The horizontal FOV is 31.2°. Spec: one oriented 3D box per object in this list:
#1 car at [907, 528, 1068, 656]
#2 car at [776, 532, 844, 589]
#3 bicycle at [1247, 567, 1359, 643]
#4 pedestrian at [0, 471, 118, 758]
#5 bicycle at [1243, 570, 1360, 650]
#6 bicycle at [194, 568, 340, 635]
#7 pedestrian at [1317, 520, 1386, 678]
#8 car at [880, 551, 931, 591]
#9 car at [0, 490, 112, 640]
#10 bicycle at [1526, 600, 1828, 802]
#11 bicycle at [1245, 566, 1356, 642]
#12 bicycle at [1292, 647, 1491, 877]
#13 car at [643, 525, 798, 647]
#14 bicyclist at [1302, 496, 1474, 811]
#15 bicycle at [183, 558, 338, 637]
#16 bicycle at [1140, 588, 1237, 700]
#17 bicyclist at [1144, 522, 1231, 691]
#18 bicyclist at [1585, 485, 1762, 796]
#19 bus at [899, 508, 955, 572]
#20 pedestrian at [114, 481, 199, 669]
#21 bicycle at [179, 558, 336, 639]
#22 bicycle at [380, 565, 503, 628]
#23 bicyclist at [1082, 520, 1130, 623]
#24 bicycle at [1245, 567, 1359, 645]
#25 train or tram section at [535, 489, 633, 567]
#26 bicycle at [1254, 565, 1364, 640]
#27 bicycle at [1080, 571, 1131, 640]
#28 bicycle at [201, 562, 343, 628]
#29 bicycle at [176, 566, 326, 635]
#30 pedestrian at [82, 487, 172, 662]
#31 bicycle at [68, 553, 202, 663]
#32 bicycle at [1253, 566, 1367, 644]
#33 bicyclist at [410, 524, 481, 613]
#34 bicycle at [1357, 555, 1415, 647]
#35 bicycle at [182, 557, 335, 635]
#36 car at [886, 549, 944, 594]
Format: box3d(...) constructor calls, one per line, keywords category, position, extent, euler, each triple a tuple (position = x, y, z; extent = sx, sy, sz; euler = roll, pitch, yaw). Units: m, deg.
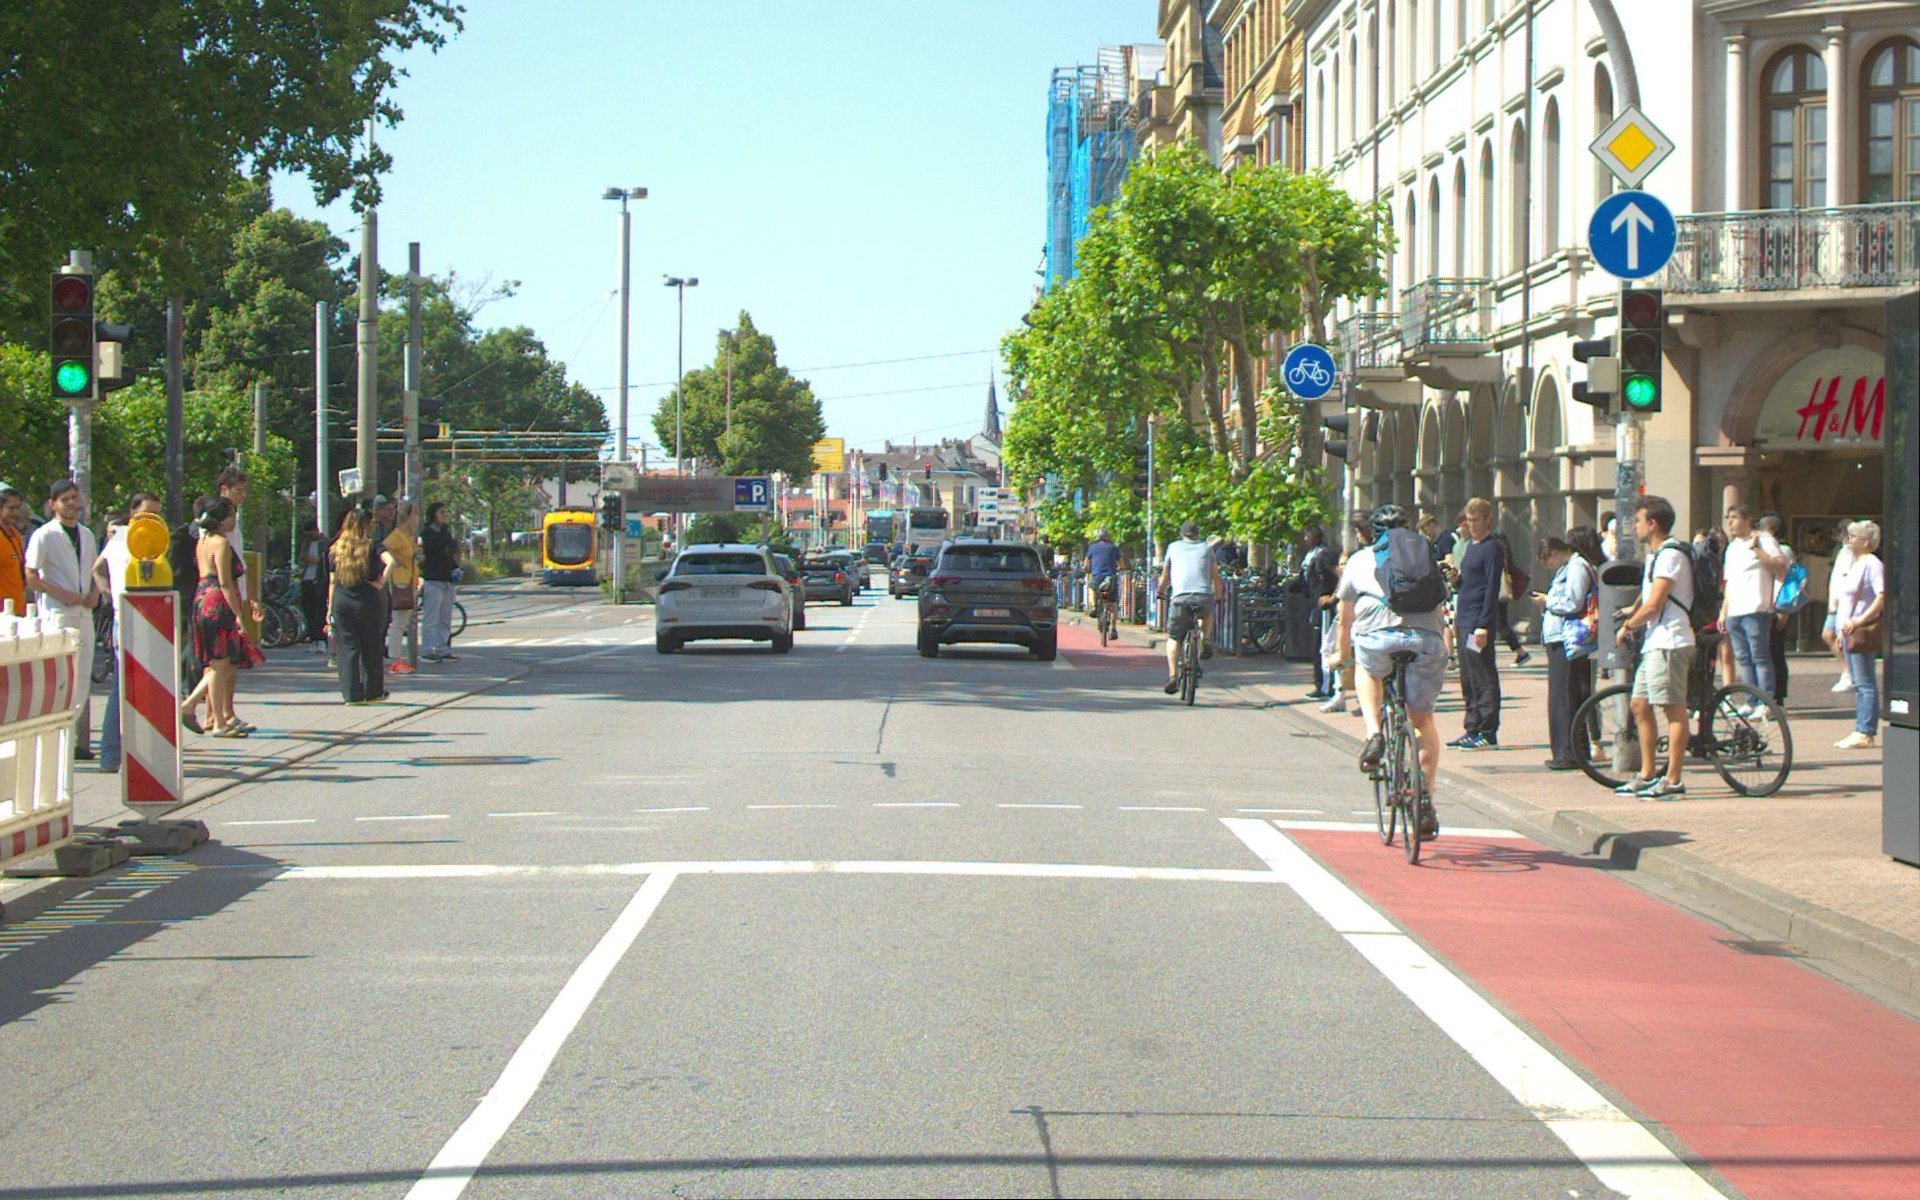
box3d(category="car", position=(0.315, -0.149, 45.433), extent=(1.845, 1.554, 4.001), euler=(-1, 2, -3))
box3d(category="car", position=(-4.247, -1.136, 97.593), extent=(1.845, 1.554, 4.000), euler=(1, 1, -1))
box3d(category="bicycle", position=(4.491, 0.064, 45.026), extent=(1.420, 0.976, 0.445), euler=(-1, 2, 0))
box3d(category="pedestrian", position=(-5.725, 0.086, 21.768), extent=(0.539, 1.773, 0.606), euler=(2, 1, 5))
box3d(category="bicycle", position=(4.300, 0.121, 43.287), extent=(1.420, 0.976, 0.445), euler=(-1, 2, 0))
box3d(category="bicycle", position=(-10.146, 0.014, 50.378), extent=(2.081, 0.976, 0.685), euler=(0, 0, -12))
box3d(category="pedestrian", position=(4.235, -0.013, 37.224), extent=(0.582, 1.668, 0.605), euler=(-3, 1, -2))
box3d(category="car", position=(-2.029, -1.087, 126.749), extent=(1.845, 1.409, 4.000), euler=(1, 1, -1))
box3d(category="car", position=(-13.293, -0.476, 45.073), extent=(1.861, 1.948, 4.756), euler=(1, 1, 20))
box3d(category="bicycle", position=(4.242, 0.573, 20.457), extent=(0.600, 1.078, 1.839), euler=(-3, 3, -35))
box3d(category="bicycle", position=(4.507, 0.045, 45.518), extent=(1.420, 0.976, 0.445), euler=(-1, 2, 0))
box3d(category="bicycle", position=(2.074, 0.756, 16.760), extent=(0.630, 0.976, 2.089), euler=(1, 1, -1))
box3d(category="car", position=(-3.189, -0.228, 46.442), extent=(1.845, 1.554, 4.000), euler=(0, 1, 0))
box3d(category="bicyclist", position=(2.083, 0.244, 16.846), extent=(0.630, 1.476, 1.198), euler=(1, 1, -1))
box3d(category="bicycle", position=(-9.655, -0.041, 47.500), extent=(2.081, 1.086, 0.685), euler=(0, 0, -12))
box3d(category="bicycle", position=(2.220, 0.415, 33.667), extent=(0.774, 1.002, 2.330), euler=(0, 1, 0))
box3d(category="bicyclist", position=(2.219, 0.053, 33.641), extent=(0.774, 1.629, 0.851), euler=(0, 1, 0))
box3d(category="bicyclist", position=(4.240, 0.220, 20.441), extent=(0.573, 1.791, 0.857), euler=(-2, 3, -35))
box3d(category="bus", position=(-1.961, -3.424, 198.253), extent=(2.994, 3.581, 11.746), euler=(1, 1, -1))
box3d(category="pedestrian", position=(-7.736, -0.239, 33.112), extent=(0.576, 1.773, 0.606), euler=(2, 1, 5))
box3d(category="bicycle", position=(-9.565, -0.029, 46.824), extent=(2.081, 1.086, 0.685), euler=(0, 0, -12))
box3d(category="bicycle", position=(-8.780, -0.060, 58.242), extent=(1.961, 1.022, 0.679), euler=(1, 1, -17))
box3d(category="bicyclist", position=(2.211, -0.437, 52.153), extent=(0.647, 1.545, 0.817), euler=(1, 1, -1))
box3d(category="bicycle", position=(4.386, 0.072, 44.109), extent=(1.420, 0.976, 0.445), euler=(-1, 2, 0))
box3d(category="train or tram section", position=(-16.748, -3.232, 153.769), extent=(2.613, 3.336, 11.001), euler=(1, 1, 3))
box3d(category="bicycle", position=(4.658, 0.037, 45.954), extent=(1.420, 0.976, 0.401), euler=(-1, 2, 0))
box3d(category="bicycle", position=(2.205, 0.072, 52.228), extent=(0.647, 0.994, 2.031), euler=(1, 1, -1))
box3d(category="bicycle", position=(-10.315, -0.075, 51.566), extent=(2.081, 0.976, 0.685), euler=(0, 0, -12))
box3d(category="bicycle", position=(-10.136, 0.004, 49.153), extent=(2.081, 0.976, 0.685), euler=(0, 0, -12))
box3d(category="pedestrian", position=(-8.274, -0.258, 34.168), extent=(0.576, 1.705, 0.605), euler=(2, 1, 19))
box3d(category="bicycle", position=(-8.023, 0.063, 33.489), extent=(0.489, 1.025, 1.933), euler=(1, 1, 12))
box3d(category="bicycle", position=(4.532, 0.062, 44.570), extent=(1.420, 0.976, 0.445), euler=(-1, 2, 0))
box3d(category="bicyclist", position=(-8.725, -0.537, 58.255), extent=(1.048, 1.497, 0.741), euler=(0, 1, -19))
box3d(category="bicycle", position=(5.399, 0.009, 43.521), extent=(0.400, 1.110, 1.424), euler=(0, 2, 20))
box3d(category="bicycle", position=(-9.818, -0.062, 48.150), extent=(2.081, 1.086, 0.685), euler=(0, 0, -12))
box3d(category="car", position=(-1.514, -0.954, 114.344), extent=(1.845, 1.409, 4.000), euler=(1, 1, -1))
